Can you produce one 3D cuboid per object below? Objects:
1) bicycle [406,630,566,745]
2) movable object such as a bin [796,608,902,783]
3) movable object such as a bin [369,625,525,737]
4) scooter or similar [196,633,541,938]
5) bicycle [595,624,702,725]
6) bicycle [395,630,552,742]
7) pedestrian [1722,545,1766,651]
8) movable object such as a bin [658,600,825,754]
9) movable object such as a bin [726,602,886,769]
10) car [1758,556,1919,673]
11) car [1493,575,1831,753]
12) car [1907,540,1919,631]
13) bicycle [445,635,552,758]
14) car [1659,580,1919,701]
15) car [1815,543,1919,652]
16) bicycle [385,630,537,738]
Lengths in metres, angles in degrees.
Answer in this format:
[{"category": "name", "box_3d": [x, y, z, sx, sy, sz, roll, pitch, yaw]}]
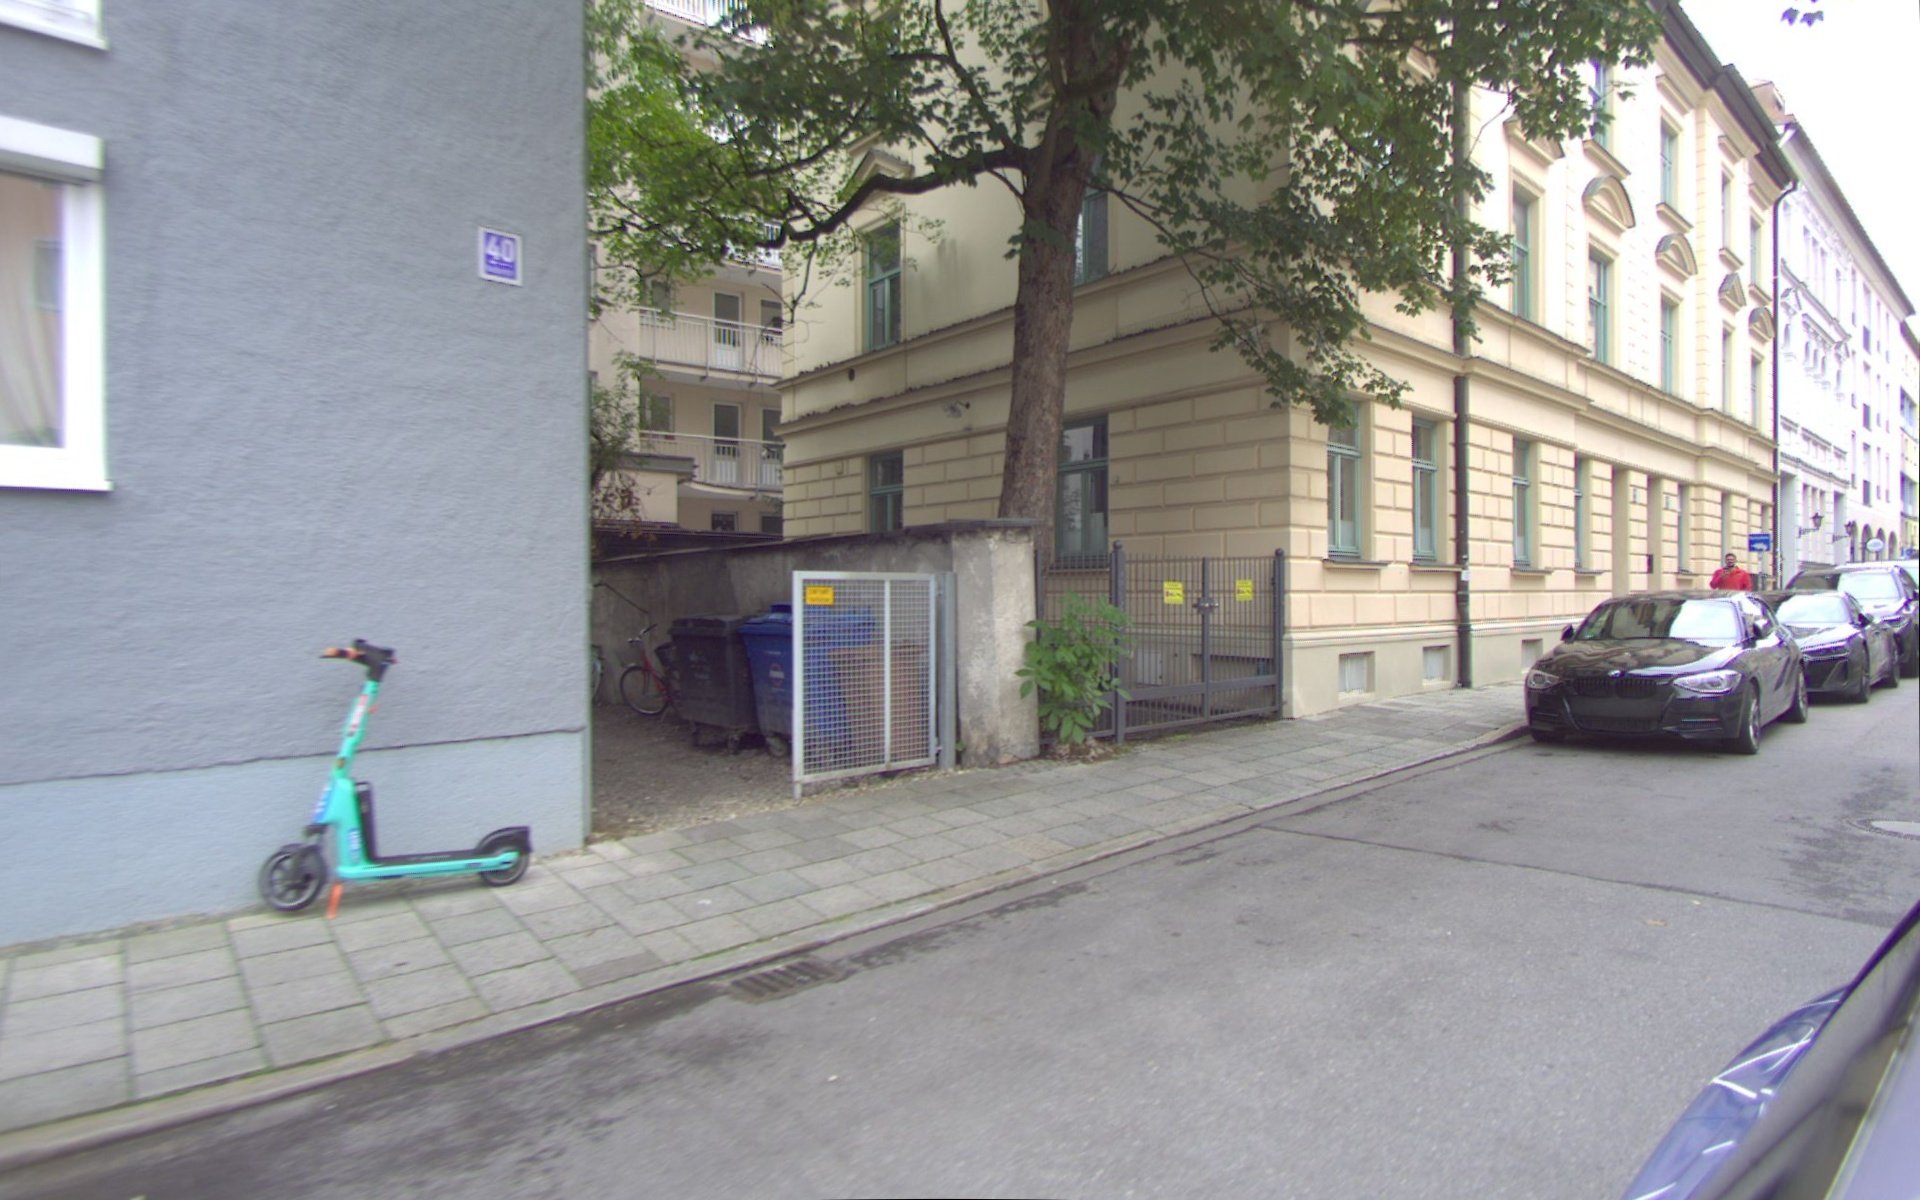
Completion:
[{"category": "bicycle", "box_3d": [-5.195, 0.926, 11.153, 1.540, 1.124, 0.441, -1, 1, -41]}, {"category": "movable object such as a bin", "box_3d": [-0.931, 0.765, 8.481, 0.622, 1.377, 0.590, -1, -2, -42]}, {"category": "movable object such as a bin", "box_3d": [-6.203, 0.943, 12.278, 1.585, 1.216, 0.577, -1, -1, -41]}, {"category": "scooter or similar", "box_3d": [-2.795, 0.796, 4.852, 1.352, 1.189, 0.506, -2, 2, -40]}, {"category": "bicycle", "box_3d": [-3.830, 0.871, 12.340, 0.544, 1.118, 2.018, -1, -1, -38]}, {"category": "bicycle", "box_3d": [-5.501, 0.941, 11.491, 1.540, 1.124, 0.441, -1, 1, -41]}, {"category": "pedestrian", "box_3d": [15.148, -0.038, 19.564, 0.448, 2.003, 0.580, -1, 0, -41]}, {"category": "movable object such as a bin", "box_3d": [-2.170, 0.712, 10.006, 1.148, 1.377, 1.205, -1, -1, -42]}, {"category": "movable object such as a bin", "box_3d": [-1.400, 0.733, 9.197, 1.035, 1.377, 1.000, -1, -1, -42]}, {"category": "car", "box_3d": [15.138, 0.163, 16.921, 4.431, 1.708, 1.997, -1, 1, -41]}, {"category": "car", "box_3d": [7.237, 0.497, 10.239, 4.434, 1.392, 1.856, -2, -1, -43]}, {"category": "car", "box_3d": [29.284, -0.497, 29.291, 5.000, 2.526, 2.012, -1, -3, -40]}, {"category": "bicycle", "box_3d": [-4.602, 0.921, 10.056, 1.562, 1.064, 0.395, 1, 1, 43]}, {"category": "car", "box_3d": [11.193, 0.409, 13.501, 4.512, 1.330, 1.997, -1, 1, -41]}, {"category": "car", "box_3d": [19.534, -0.094, 20.881, 4.972, 2.039, 1.998, -1, 1, -39]}, {"category": "bicycle", "box_3d": [-5.832, 0.946, 11.884, 1.540, 1.124, 0.441, -1, 1, -41]}]
